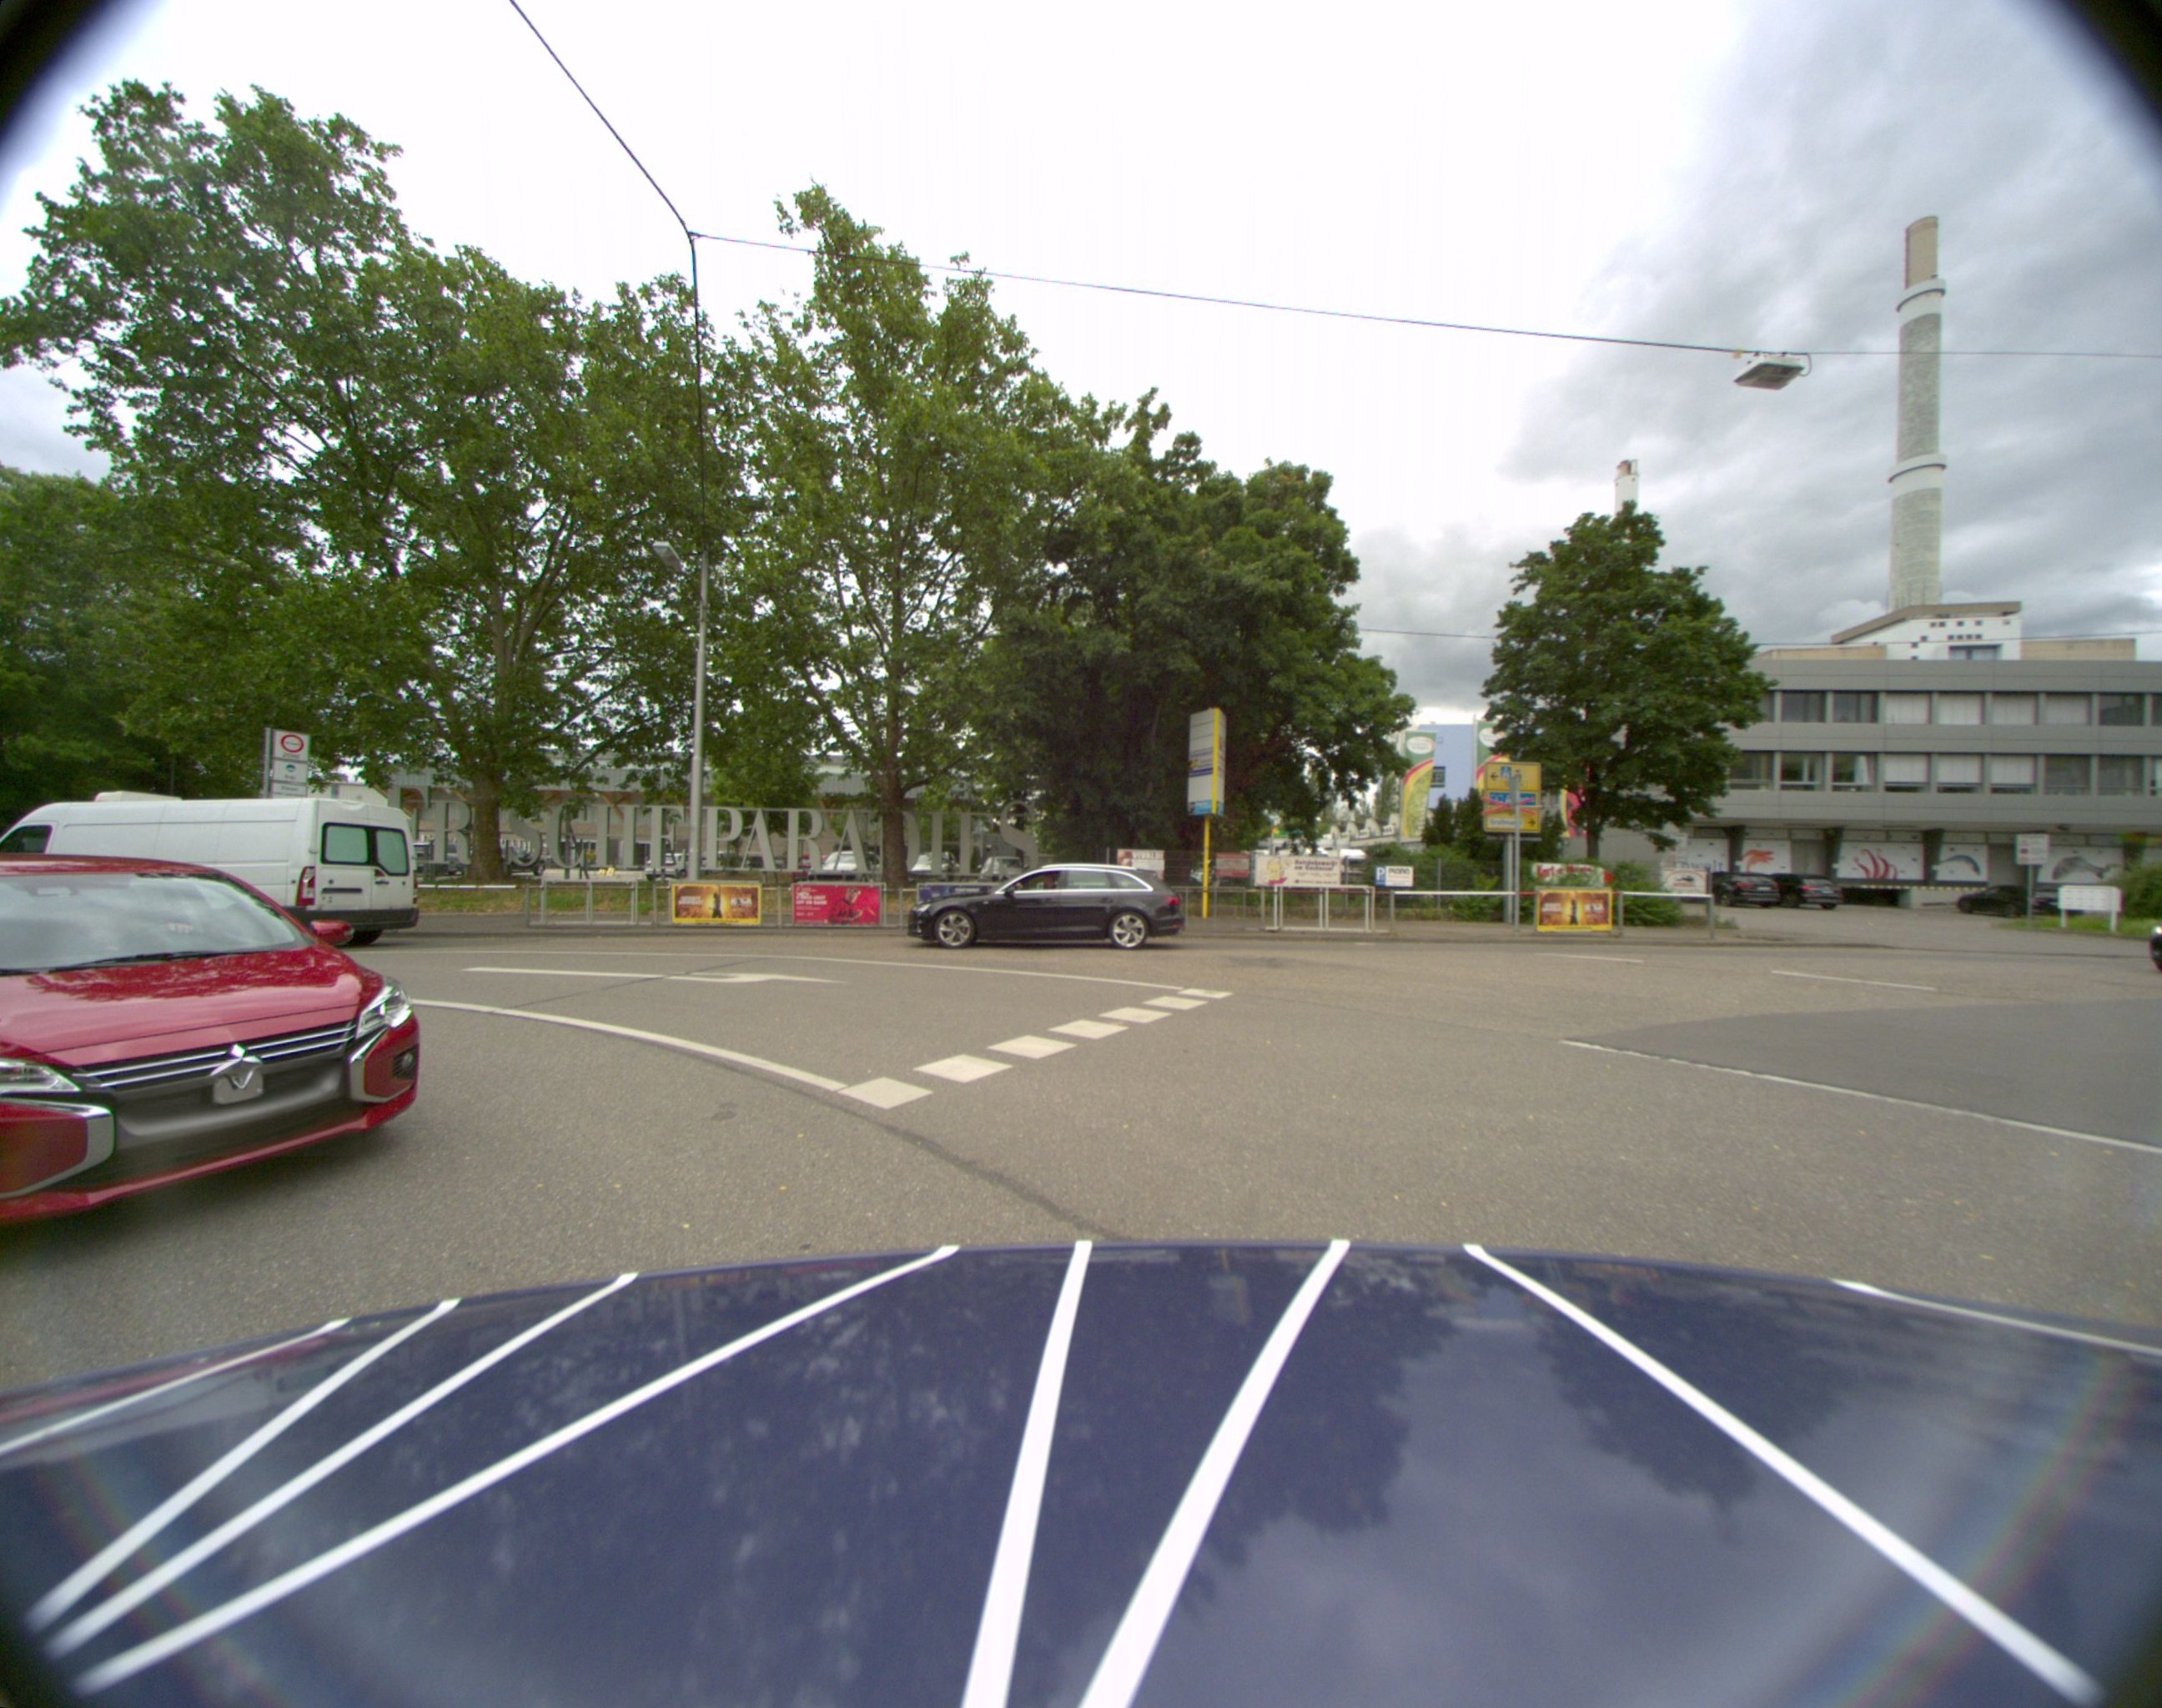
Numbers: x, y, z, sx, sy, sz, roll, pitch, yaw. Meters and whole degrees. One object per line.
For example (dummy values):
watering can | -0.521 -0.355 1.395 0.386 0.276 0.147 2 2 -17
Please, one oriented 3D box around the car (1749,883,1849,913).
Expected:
car | 34.646 2.103 36.801 1.775 1.171 3.574 -2 1 8

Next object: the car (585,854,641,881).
car | -32.129 0.887 52.240 1.753 1.674 3.570 -2 1 -4

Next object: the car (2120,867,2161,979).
car | 19.279 1.193 12.024 4.232 1.761 1.831 3 -1 -13

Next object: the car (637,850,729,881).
car | -20.885 0.572 40.167 1.937 1.423 5.251 -2 1 1

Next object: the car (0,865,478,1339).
car | -5.099 0.843 3.710 3.731 1.521 1.771 0 1 23

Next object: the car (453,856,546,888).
car | -30.015 0.907 39.373 1.916 1.499 3.999 2 -1 -5

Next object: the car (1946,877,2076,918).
car | 42.216 1.935 34.628 1.747 1.543 3.612 -2 1 7

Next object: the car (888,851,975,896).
car | -5.518 0.676 28.744 1.998 1.449 4.701 -2 1 4

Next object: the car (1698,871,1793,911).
car | 32.140 1.755 36.884 1.775 1.669 3.574 -2 1 8

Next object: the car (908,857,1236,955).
car | -0.150 0.905 13.163 5.219 1.448 2.001 1 -4 -2

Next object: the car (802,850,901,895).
car | -8.641 0.641 29.106 1.998 1.449 4.701 -2 1 4

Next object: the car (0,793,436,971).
car | -15.045 0.447 12.649 6.479 2.527 2.192 -2 1 -2

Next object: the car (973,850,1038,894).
car | -2.792 0.642 29.179 1.999 1.449 4.699 -2 1 0
